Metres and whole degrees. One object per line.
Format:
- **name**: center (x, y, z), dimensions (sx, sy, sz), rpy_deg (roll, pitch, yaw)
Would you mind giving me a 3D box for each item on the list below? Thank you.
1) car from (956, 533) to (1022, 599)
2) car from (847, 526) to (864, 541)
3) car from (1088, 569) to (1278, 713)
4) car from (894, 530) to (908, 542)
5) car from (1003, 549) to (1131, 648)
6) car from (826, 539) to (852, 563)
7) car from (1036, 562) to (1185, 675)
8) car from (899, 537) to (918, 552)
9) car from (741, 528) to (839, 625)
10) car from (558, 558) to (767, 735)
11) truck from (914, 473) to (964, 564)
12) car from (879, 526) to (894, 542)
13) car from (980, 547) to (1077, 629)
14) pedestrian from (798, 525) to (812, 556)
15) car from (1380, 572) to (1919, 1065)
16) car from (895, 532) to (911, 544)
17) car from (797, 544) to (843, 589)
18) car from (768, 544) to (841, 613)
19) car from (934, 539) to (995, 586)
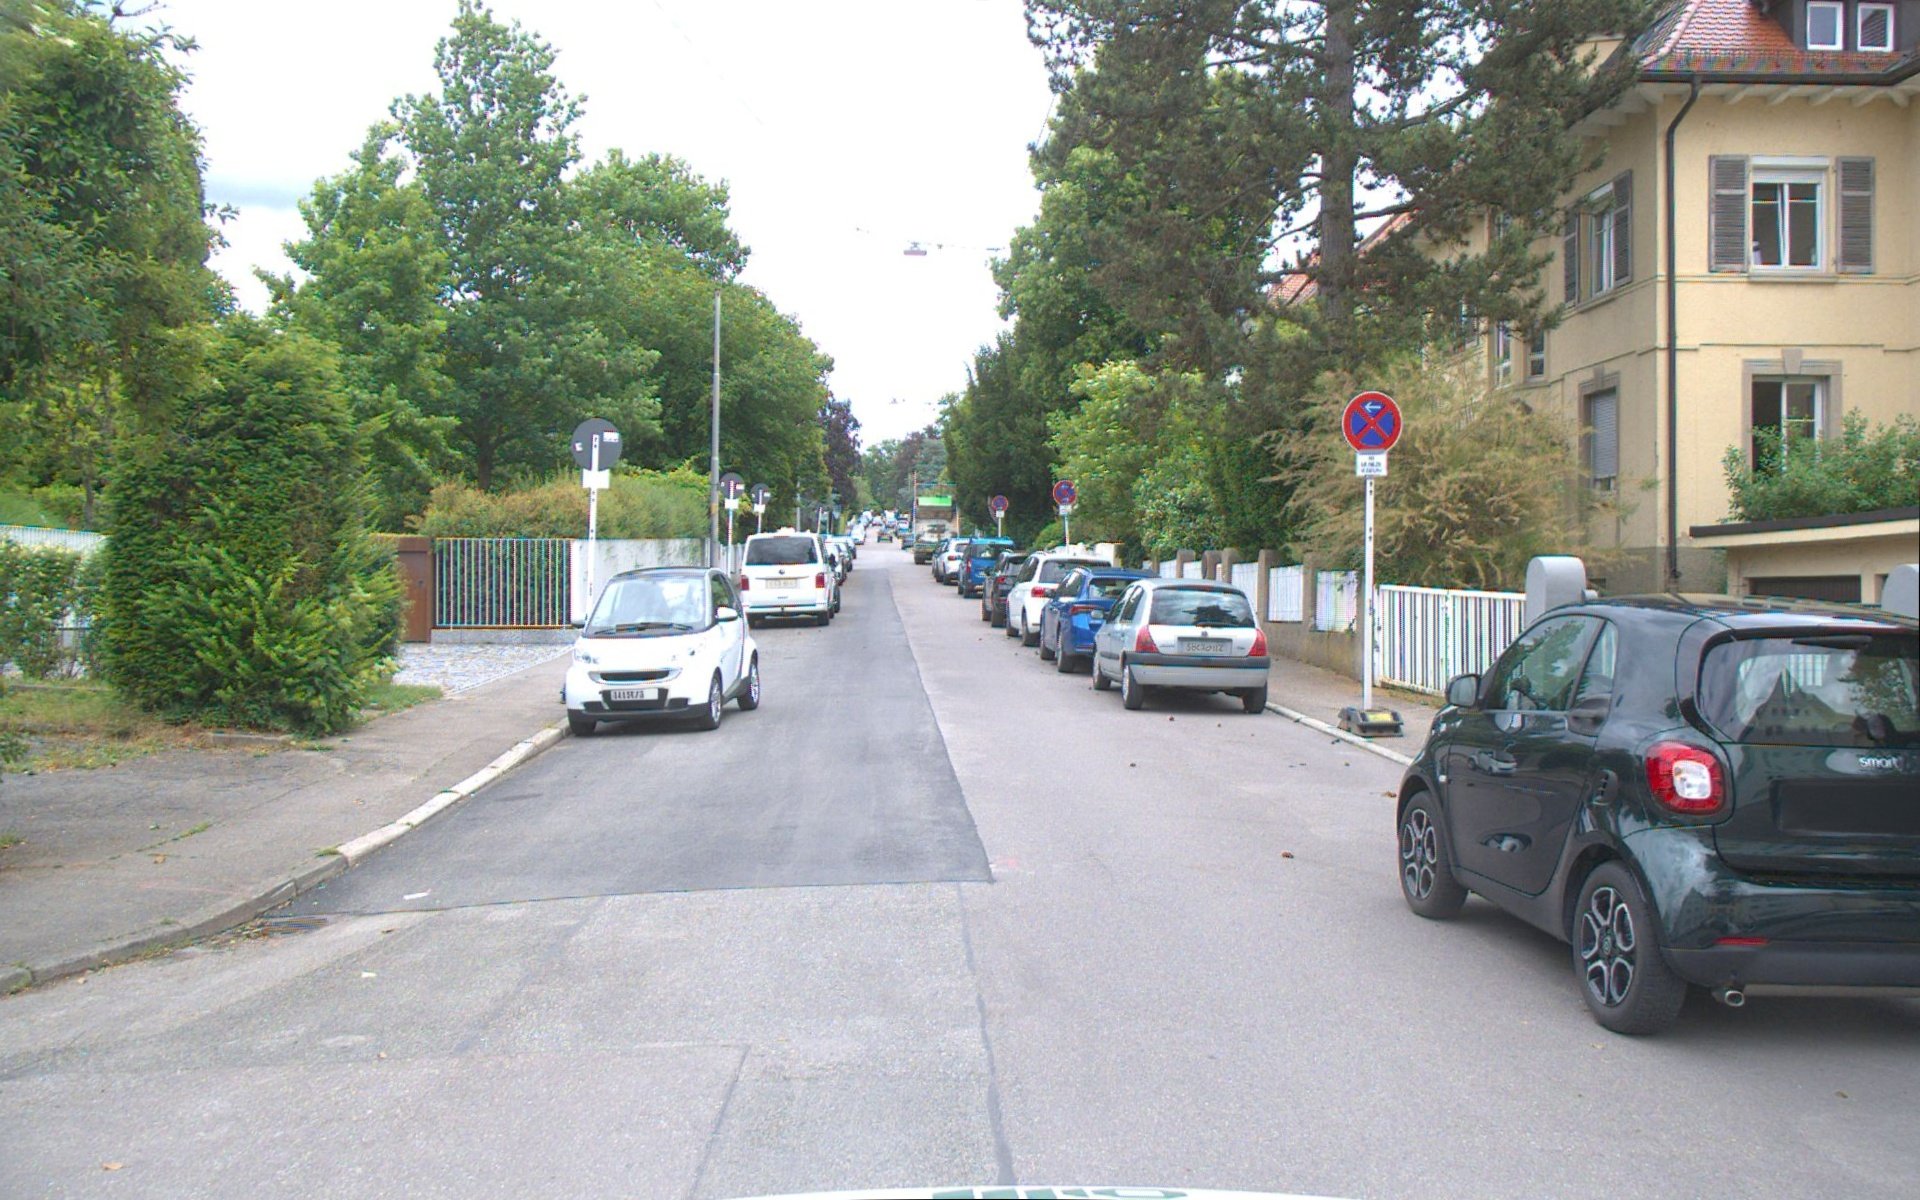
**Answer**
- **car**: center (0.857, -1.074, 51.030), dimensions (1.649, 1.860, 4.155), rpy_deg (2, 2, -4)
- **car**: center (-11.444, -7.291, 181.507), dimensions (1.676, 1.613, 4.001), rpy_deg (1, 2, 0)
- **car**: center (2.513, 0.409, 19.402), dimensions (1.542, 1.424, 3.654), rpy_deg (2, 2, -3)
- **car**: center (-7.621, -8.262, 214.331), dimensions (1.753, 1.556, 3.734), rpy_deg (1, 2, -2)
- **car**: center (1.906, -0.087, 30.779), dimensions (1.750, 1.631, 4.302), rpy_deg (2, 2, -4)
- **car**: center (-7.716, -3.123, 105.435), dimensions (1.605, 1.419, 3.986), rpy_deg (-2, 3, -4)
- **car**: center (2.138, 0.211, 24.475), dimensions (1.614, 1.483, 4.050), rpy_deg (2, 1, -3)
- **car**: center (-5.062, -5.444, 161.989), dimensions (1.743, 1.515, 3.998), rpy_deg (0, 2, -4)
- **car**: center (-3.674, -0.552, 36.455), dimensions (1.817, 1.946, 4.618), rpy_deg (-2, 2, -3)
- **car**: center (-2.966, 0.406, 16.971), dimensions (1.412, 1.579, 2.771), rpy_deg (-3, 2, 4)
- **truck**: center (-1.235, -4.515, 92.476), dimensions (2.474, 4.830, 7.185), rpy_deg (1, 2, -2)
- **car**: center (-8.304, -7.528, 187.732), dimensions (1.601, 1.730, 3.493), rpy_deg (1, 3, -4)
- **car**: center (1.470, -0.307, 36.768), dimensions (1.715, 1.635, 4.073), rpy_deg (2, 1, -3)
- **pedestrian**: center (-10.399, -3.996, 110.897), dimensions (0.836, 2.048, 0.700), rpy_deg (2, 2, -8)
- **car**: center (3.041, 0.726, 6.931), dimensions (1.541, 1.558, 2.865), rpy_deg (3, 2, -6)
- **car**: center (-7.091, -7.690, 205.473), dimensions (1.774, 1.358, 3.631), rpy_deg (2, 3, -4)
- **car**: center (-5.182, -1.260, 60.870), dimensions (1.591, 1.559, 2.959), rpy_deg (-2, 3, -6)
- **car**: center (-4.001, -0.602, 42.628), dimensions (1.756, 1.651, 4.339), rpy_deg (-1, 2, -5)
- **car**: center (0.119, -1.439, 61.909), dimensions (1.724, 1.633, 4.570), rpy_deg (1, 2, -7)
